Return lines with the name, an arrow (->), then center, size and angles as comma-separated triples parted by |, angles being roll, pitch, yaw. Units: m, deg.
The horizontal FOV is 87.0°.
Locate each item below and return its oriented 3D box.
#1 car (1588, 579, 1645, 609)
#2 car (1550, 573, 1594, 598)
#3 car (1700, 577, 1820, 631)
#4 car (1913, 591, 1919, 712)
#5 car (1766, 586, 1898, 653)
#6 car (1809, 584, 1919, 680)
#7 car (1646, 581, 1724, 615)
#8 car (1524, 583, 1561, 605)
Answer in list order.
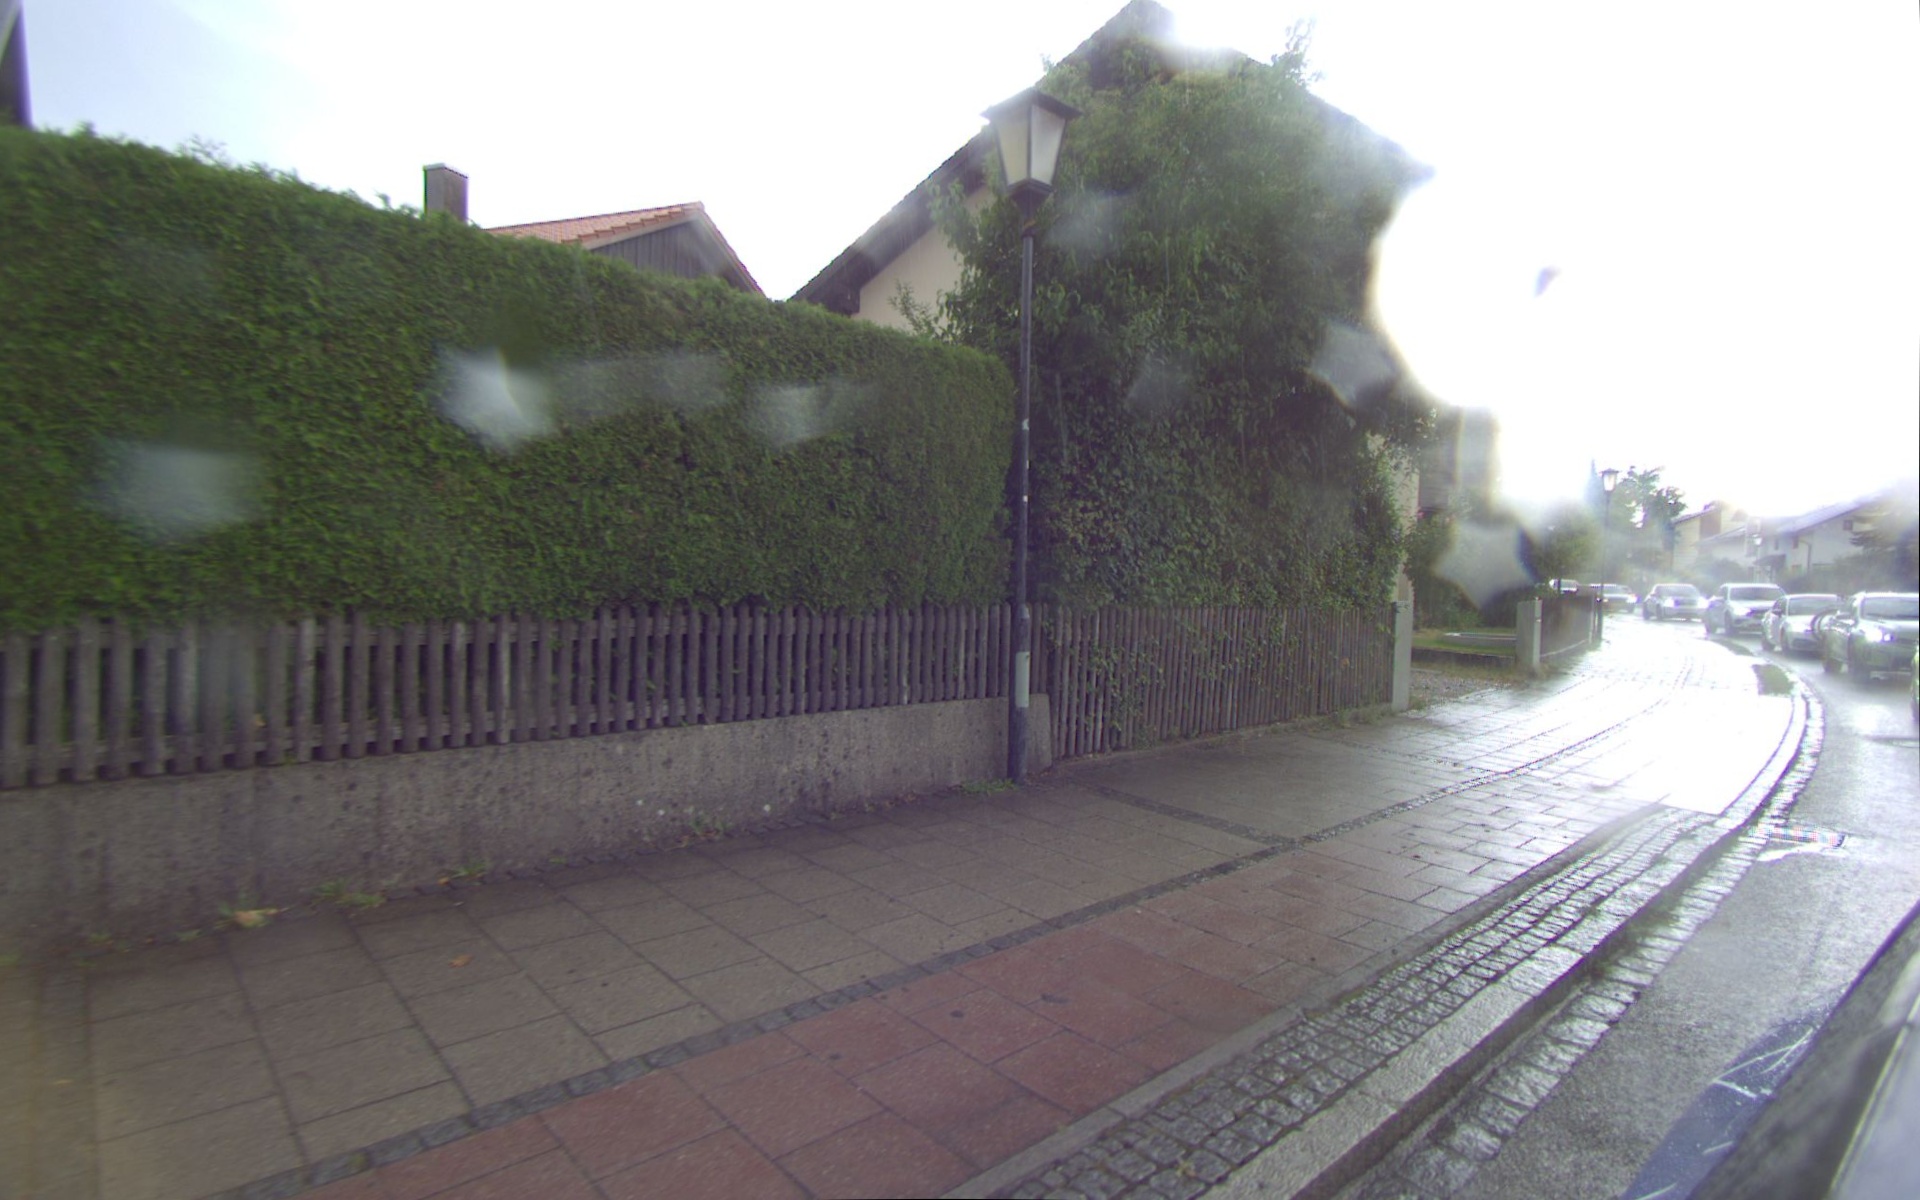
car -> 35.585, -0.330, 54.931 | 1.774, 1.568, 4.250 | 0, 1, 22
car -> 39.924, -0.956, 66.089 | 1.774, 1.568, 4.250 | 0, 1, 22
car -> 24.785, 0.086, 31.530 | 1.774, 1.568, 4.250 | 0, 1, 22
car -> 11.131, 0.630, 10.314 | 1.787, 1.412, 4.220 | 0, 1, 40
car -> 20.407, 0.391, 23.850 | 1.782, 1.412, 4.231 | 0, 1, 33
car -> 16.723, 0.477, 18.045 | 1.782, 1.498, 5.322 | 0, 1, 33
car -> 31.175, -0.117, 43.640 | 1.774, 1.391, 4.250 | 0, 1, 22
car -> 42.642, -0.460, 74.173 | 1.774, 1.568, 4.250 | 0, 1, 22
